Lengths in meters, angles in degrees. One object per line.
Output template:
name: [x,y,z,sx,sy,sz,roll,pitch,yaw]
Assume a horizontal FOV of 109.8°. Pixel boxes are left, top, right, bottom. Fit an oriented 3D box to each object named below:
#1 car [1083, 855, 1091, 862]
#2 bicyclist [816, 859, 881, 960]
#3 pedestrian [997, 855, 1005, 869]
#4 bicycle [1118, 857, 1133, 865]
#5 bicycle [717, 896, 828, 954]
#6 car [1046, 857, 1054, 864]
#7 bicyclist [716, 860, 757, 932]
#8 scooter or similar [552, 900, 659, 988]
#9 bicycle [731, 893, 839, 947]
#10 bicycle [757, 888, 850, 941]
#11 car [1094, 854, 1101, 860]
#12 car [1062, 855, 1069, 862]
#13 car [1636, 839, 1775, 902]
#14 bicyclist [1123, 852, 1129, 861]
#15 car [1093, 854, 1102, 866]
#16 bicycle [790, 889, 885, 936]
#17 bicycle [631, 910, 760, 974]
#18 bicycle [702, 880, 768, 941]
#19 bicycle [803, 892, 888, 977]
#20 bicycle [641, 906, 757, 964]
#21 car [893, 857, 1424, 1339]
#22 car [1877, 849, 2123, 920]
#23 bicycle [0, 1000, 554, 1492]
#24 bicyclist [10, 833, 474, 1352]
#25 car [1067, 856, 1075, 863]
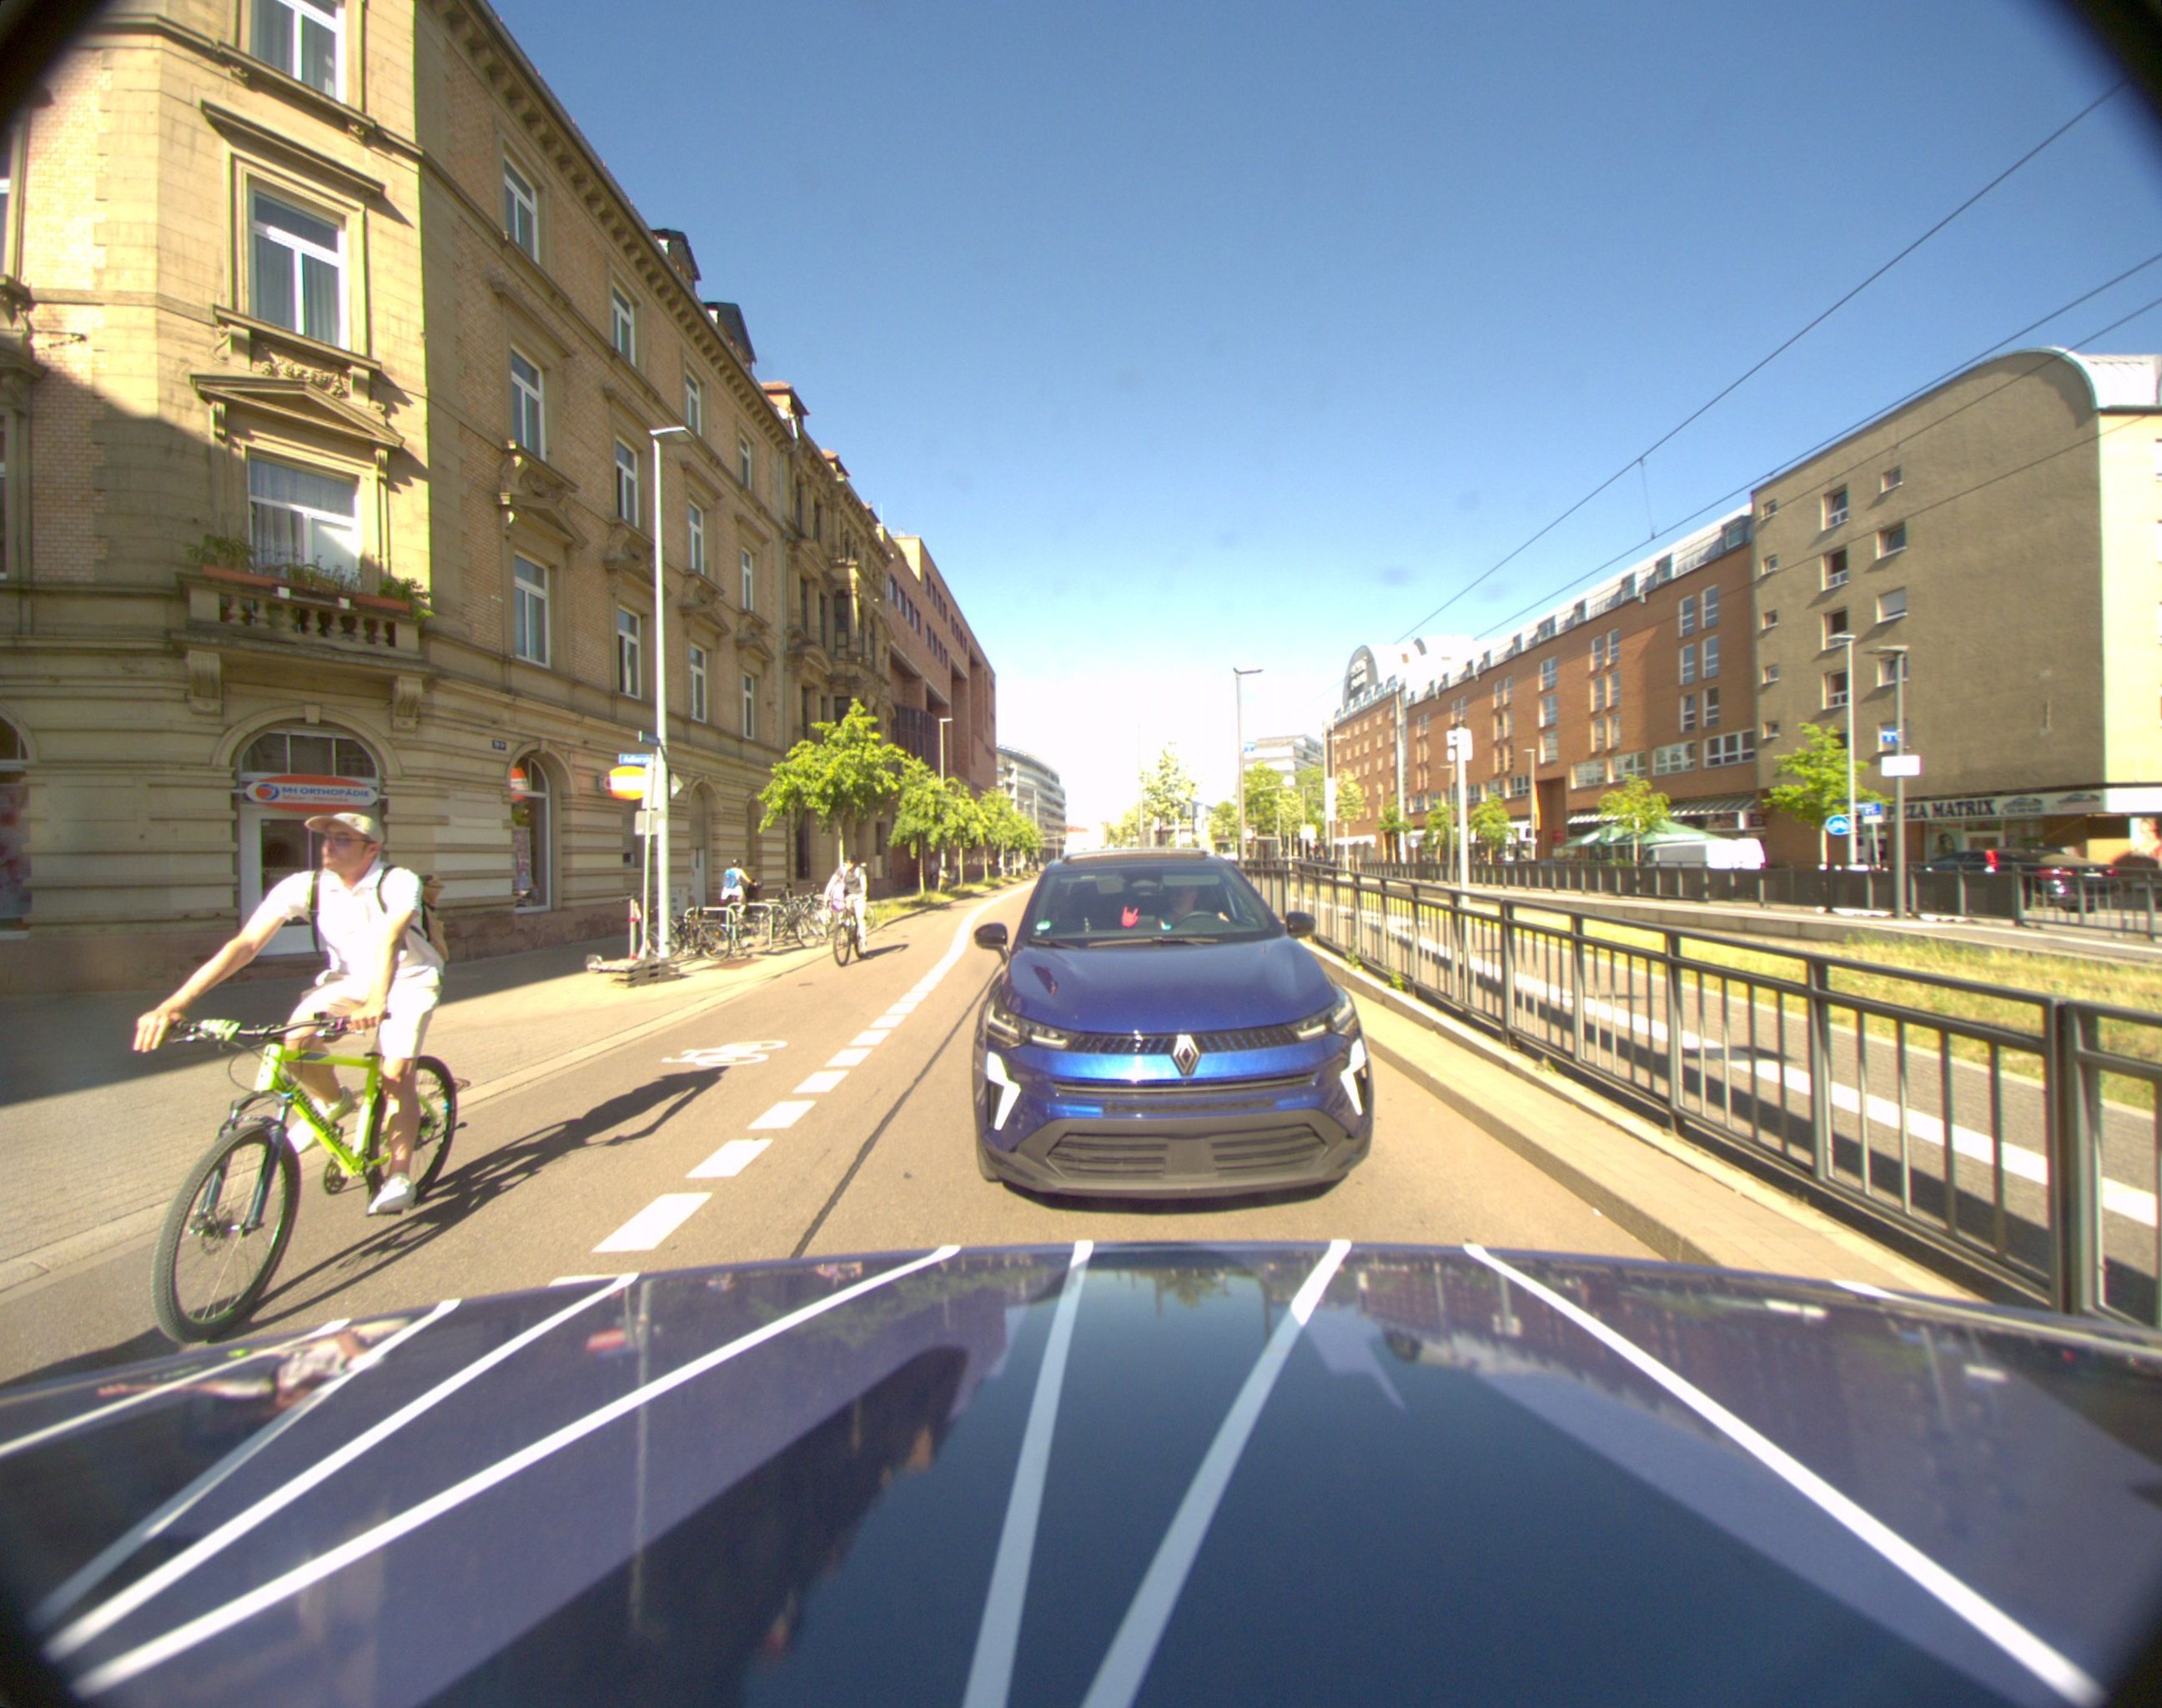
car: [1.325,1.095,172.436,1.745,1.543,4.000,-1,0,1]
bicyclist: [-3.849,0.890,12.646,0.725,1.595,0.895,-2,0,1]
pedestrian: [-11.547,1.115,109.218,0.880,2.002,0.764,-1,1,22]
bicycle: [6.362,1.000,108.646,2.045,1.013,0.645,-1,0,-4]
bicycle: [-5.943,1.368,14.712,1.876,1.043,0.608,1,1,-4]
car: [-7.069,1.395,174.268,1.745,1.543,4.000,-1,0,0]
bicyclist: [-7.961,0.948,17.584,0.579,1.608,0.794,-1,1,-2]
scooter or similar: [-6.855,1.282,10.985,1.199,1.191,0.487,-1,0,-4]
bicycle: [-6.277,1.388,16.226,1.903,1.024,1.030,1,1,-2]
bicycle: [-6.316,1.362,17.372,1.678,1.055,1.134,3,1,-1]
car: [4.016,0.674,186.342,1.745,1.543,4.000,-1,0,0]
car: [-3.869,1.069,189.606,1.745,1.543,4.000,-1,0,1]
car: [25.331,0.576,31.105,1.997,2.283,5.192,-2,1,9]
bicyclist: [6.471,0.382,108.676,0.741,1.301,0.637,-1,0,-6]
car: [3.516,1.206,159.346,1.758,2.471,4.610,-3,0,1]
bicycle: [-5.987,1.429,18.774,2.062,1.036,0.847,2,1,0]
bicycle: [-6.337,1.434,12.501,1.905,0.906,0.592,1,2,9]
bicycle: [-7.963,1.268,17.589,0.579,1.246,2.097,-1,1,-2]
bicycle: [-3.836,1.277,12.572,0.725,1.187,1.952,-2,0,1]
bicycle: [-6.586,1.397,13.134,1.717,0.920,0.497,-1,1,1]
car: [0.302,0.863,4.861,1.758,1.576,4.420,-4,0,1]
car: [24.206,0.710,20.272,1.699,1.630,3.999,-2,1,-1]
bicycle: [-3.113,1.302,3.118,0.725,1.000,1.951,-2,0,-8]
bicyclist: [-3.117,0.770,2.973,0.700,1.647,0.976,-2,0,-8]
car: [-2.214,1.217,173.701,1.745,1.543,4.000,-1,0,1]
